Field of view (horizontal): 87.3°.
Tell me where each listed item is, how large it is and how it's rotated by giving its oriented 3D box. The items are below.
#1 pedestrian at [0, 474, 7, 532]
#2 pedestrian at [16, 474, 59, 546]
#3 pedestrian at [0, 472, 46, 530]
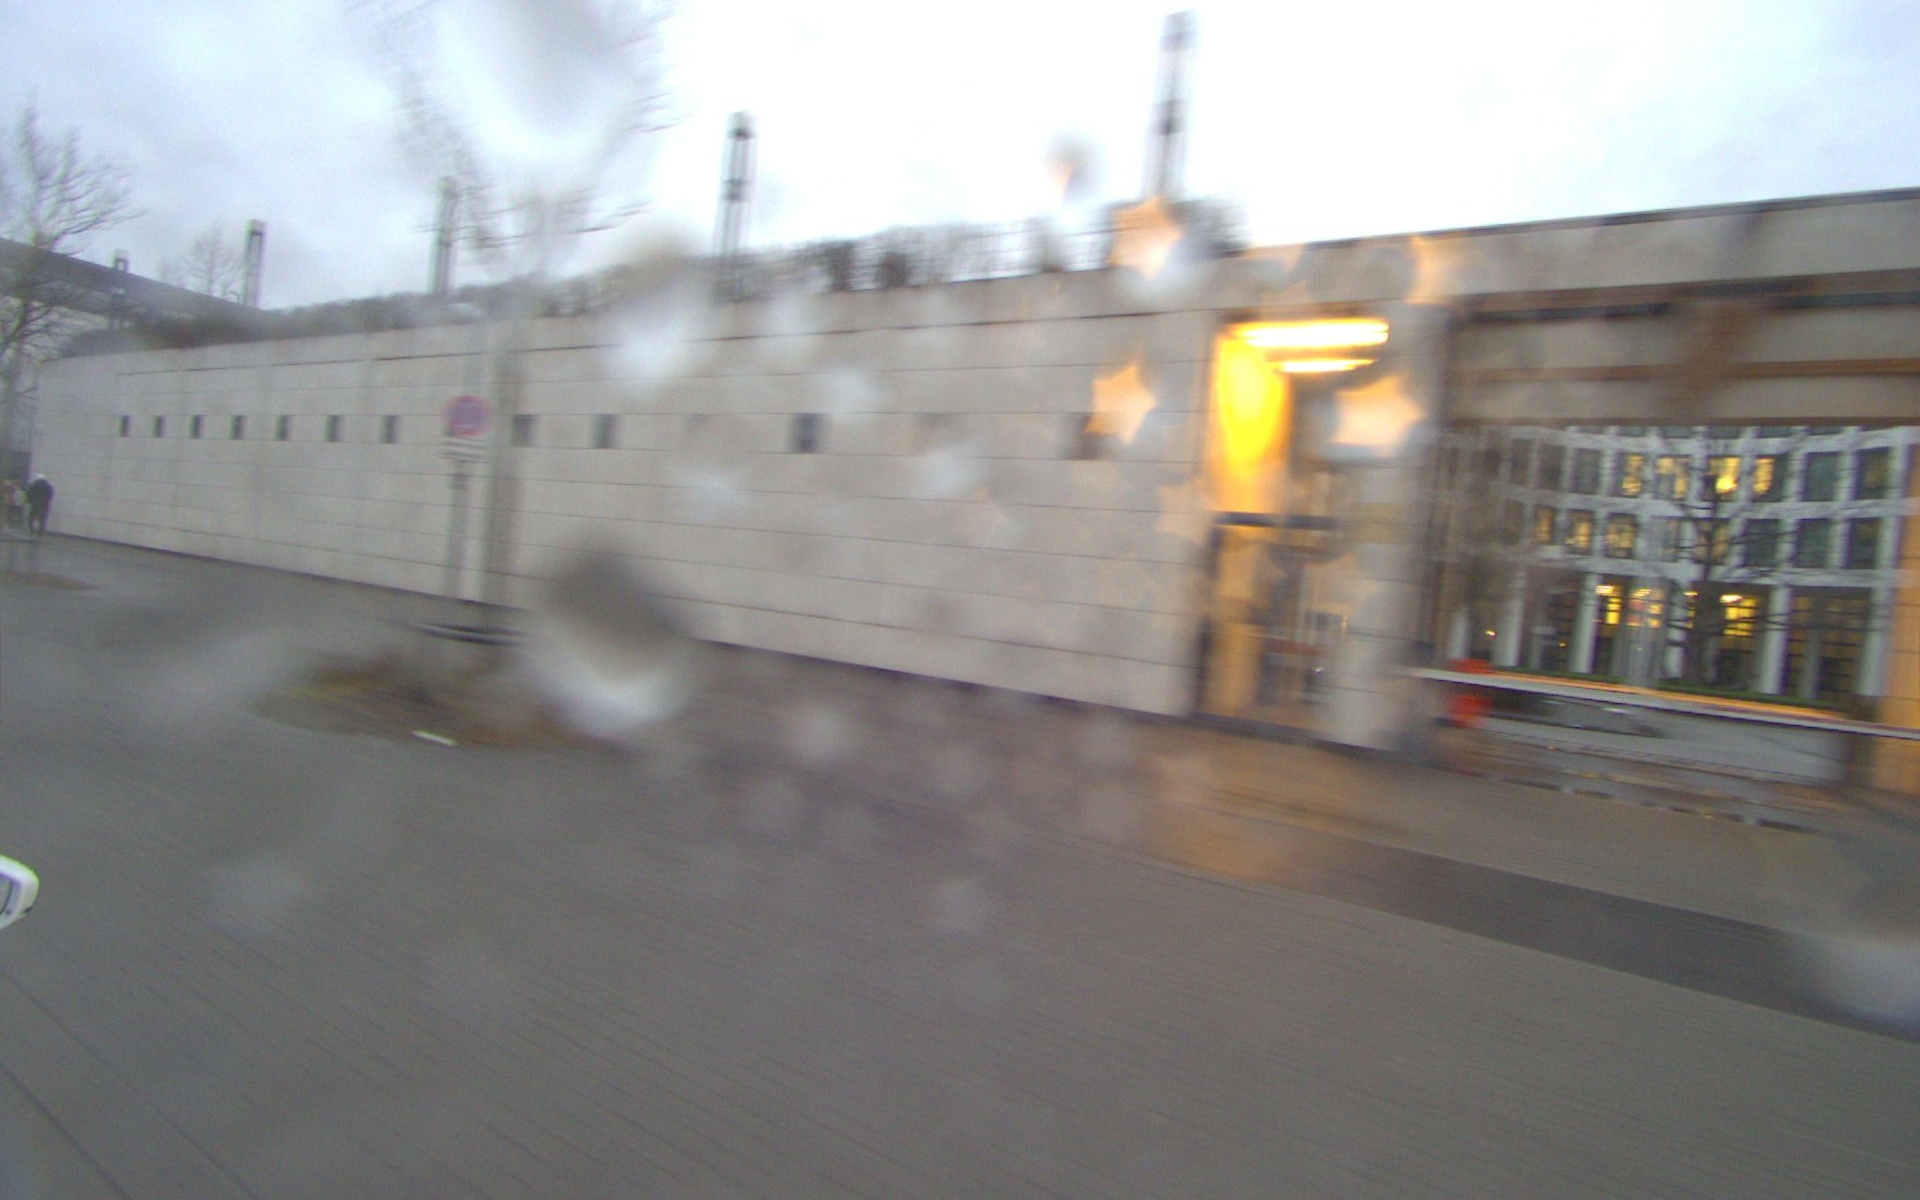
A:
[{"bbox_3d":[-25.449,-2.509,26.274,0.671,1.631,0.606,8,-1,-45],"label":"pedestrian"},{"bbox_3d":[-24.796,-2.413,27.030,0.671,1.799,0.606,8,-1,-45],"label":"pedestrian"},{"bbox_3d":[-28.893,-3.043,31.012,0.977,1.676,0.668,6,1,27],"label":"pedestrian"}]
